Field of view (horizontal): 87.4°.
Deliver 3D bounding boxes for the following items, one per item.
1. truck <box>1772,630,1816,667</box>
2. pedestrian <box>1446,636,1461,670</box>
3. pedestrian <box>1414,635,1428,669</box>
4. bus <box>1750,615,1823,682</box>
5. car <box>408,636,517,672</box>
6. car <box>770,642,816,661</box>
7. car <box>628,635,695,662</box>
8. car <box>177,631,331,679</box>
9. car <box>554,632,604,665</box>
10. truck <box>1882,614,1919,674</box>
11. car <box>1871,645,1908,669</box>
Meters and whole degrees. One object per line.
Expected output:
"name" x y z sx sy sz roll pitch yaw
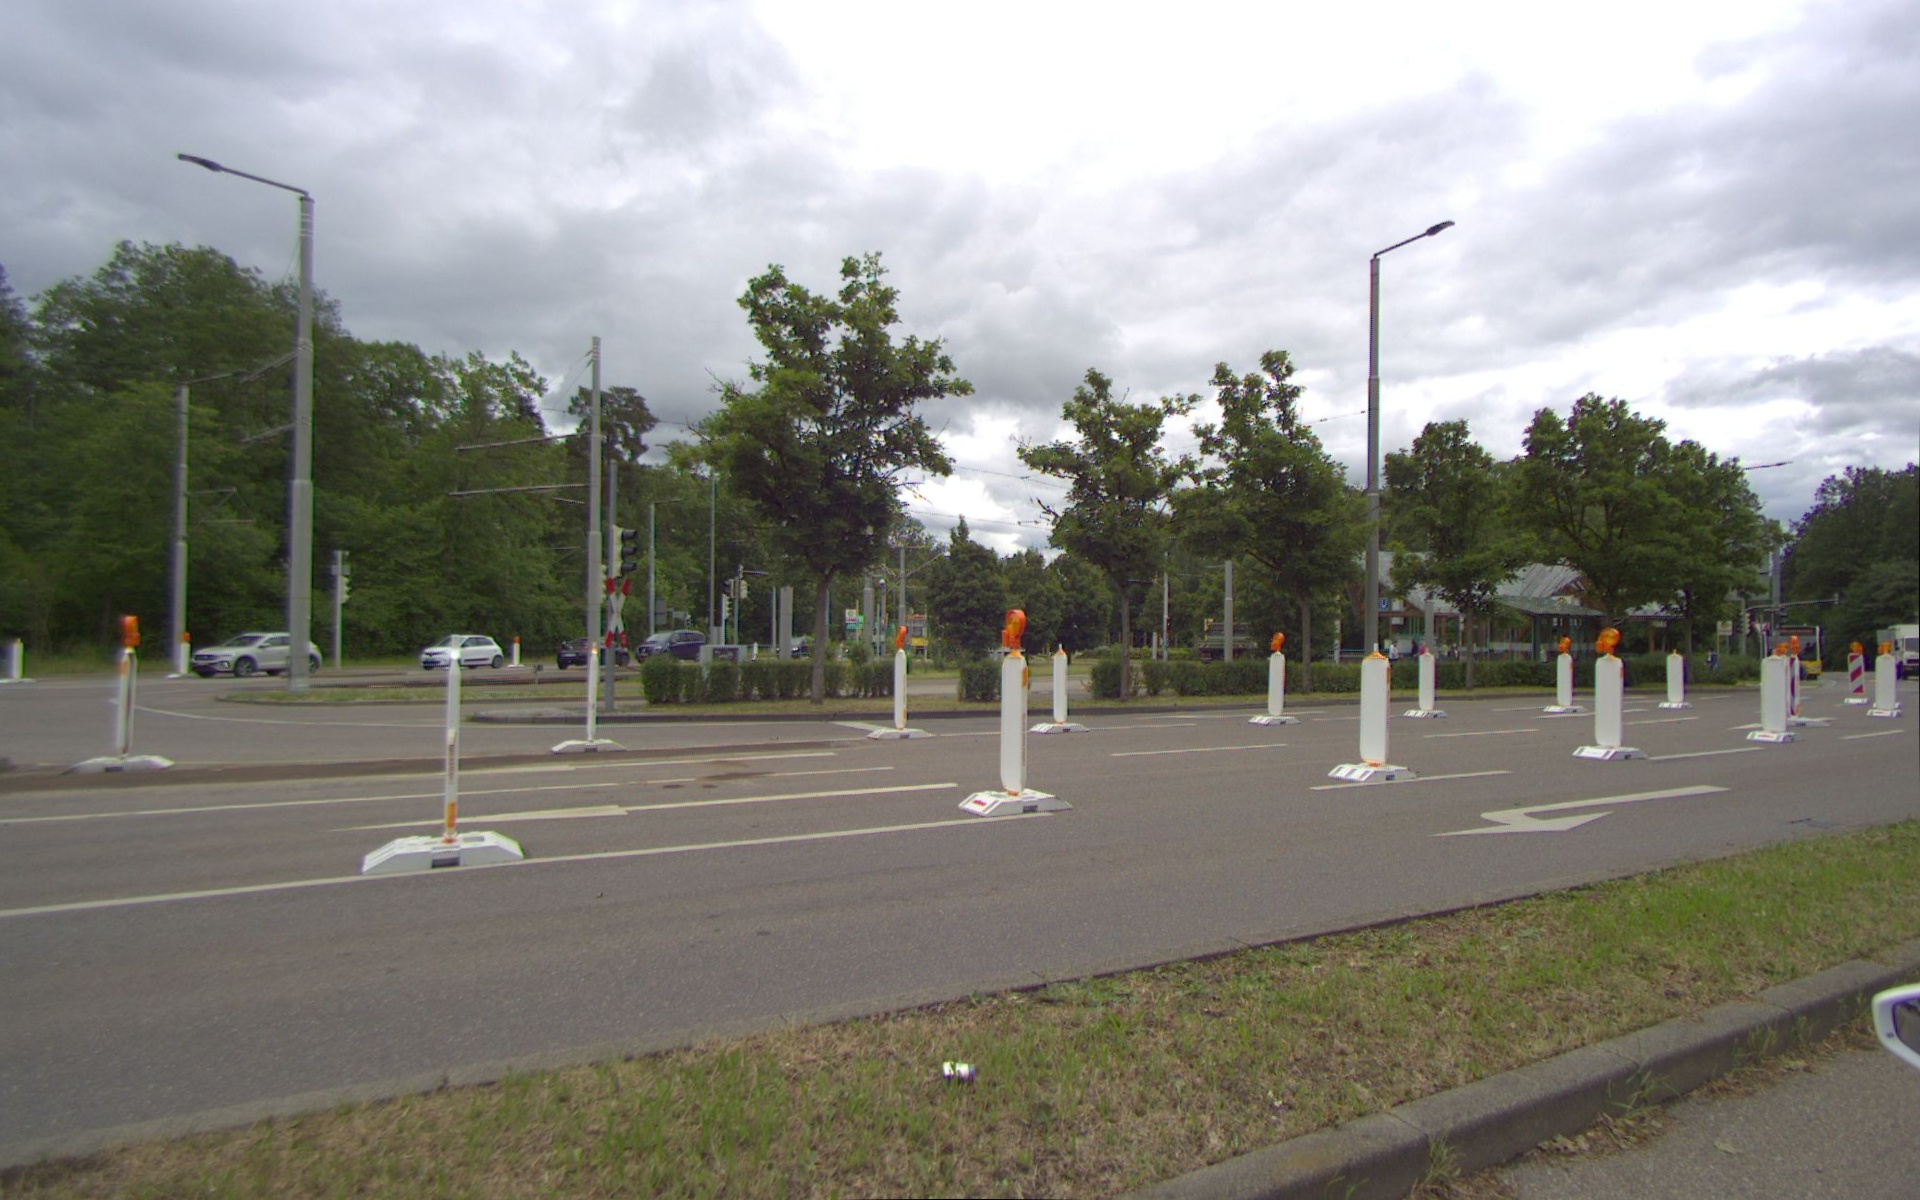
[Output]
"truck" 79.783 4.700 96.154 2.451 3.329 8.494 -1 -4 35
"pedestrian" 24.180 2.570 49.261 0.482 1.647 0.562 0 -1 5
"pedestrian" 22.833 2.576 49.748 0.482 1.647 0.562 0 -1 5
"bus" 50.076 2.839 61.090 2.786 3.651 12.756 -1 -2 37
"car" -22.715 2.432 46.037 1.929 1.561 4.397 -1 -2 19
"car" -12.569 3.857 75.937 1.928 1.379 4.313 0 -2 14
"car" -17.834 2.864 60.238 1.928 1.560 4.313 0 -2 14
"car" -25.209 1.922 36.063 1.928 1.628 4.313 0 -2 14
"car" -16.301 2.074 43.117 1.750 1.379 3.465 0 -3 -16
"truck" 56.166 2.593 59.018 2.455 3.329 8.480 -2 -3 40
"car" 64.054 3.910 69.224 1.537 1.549 3.810 -1 -2 38
